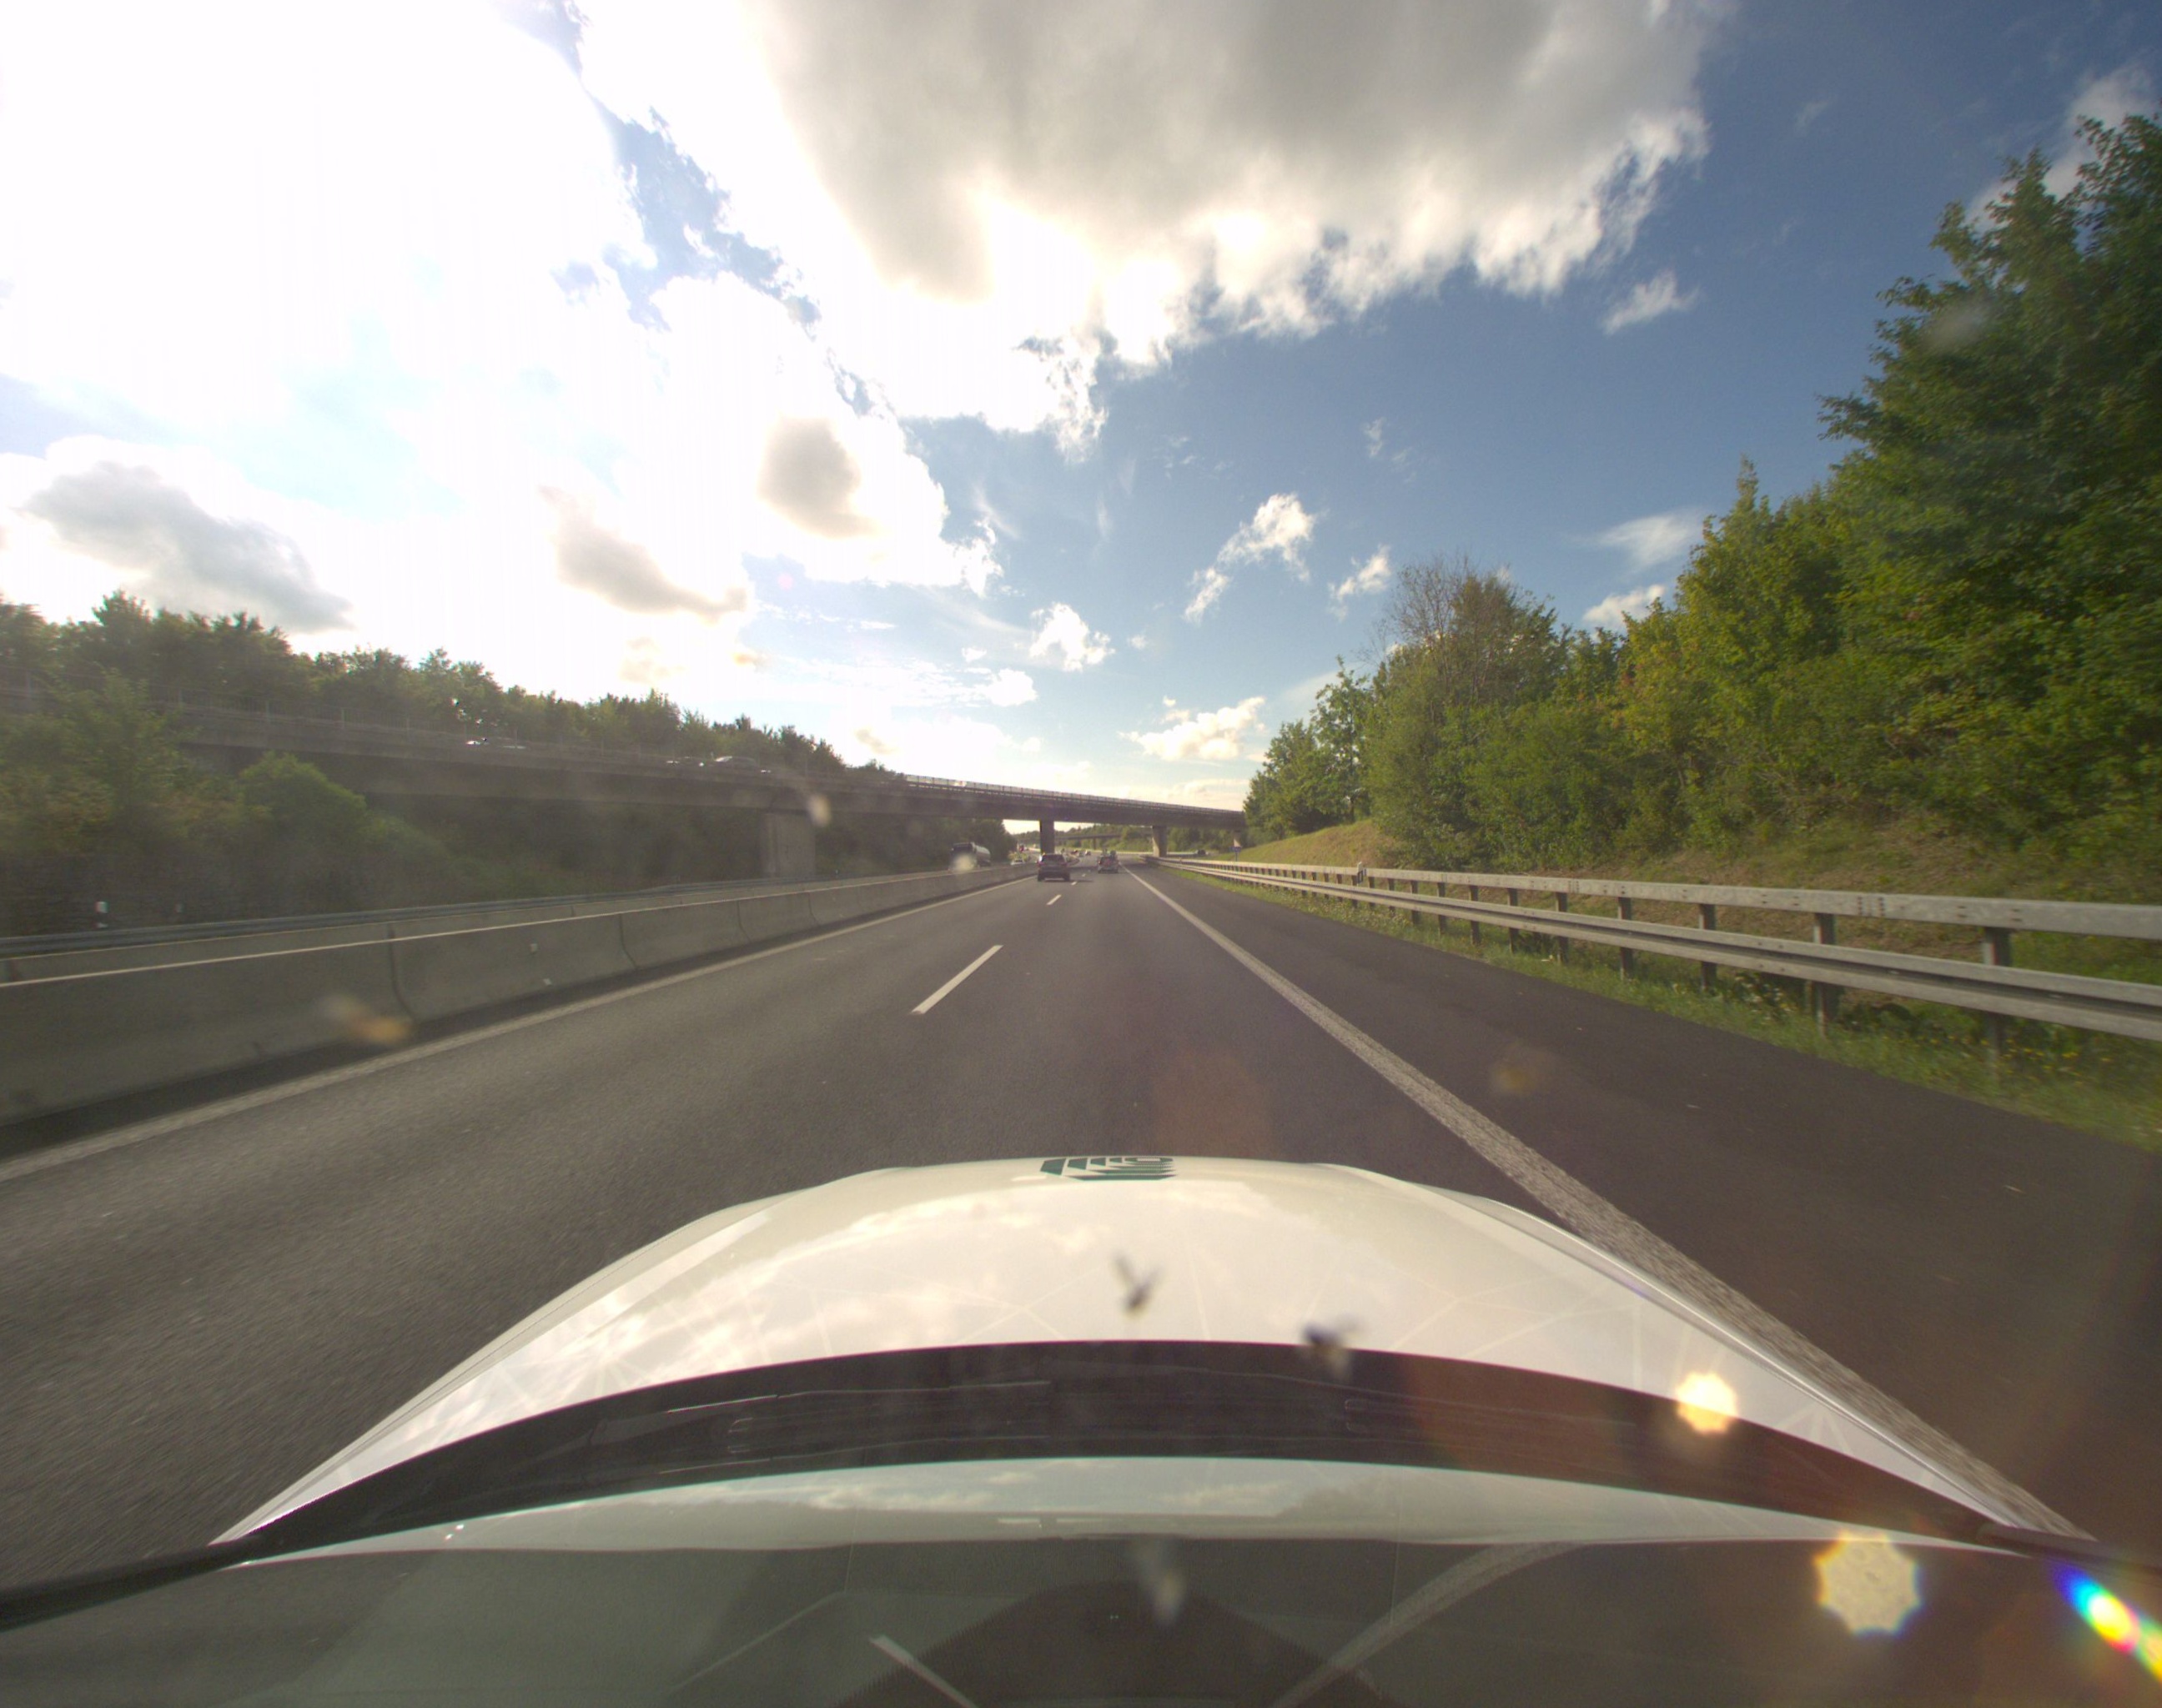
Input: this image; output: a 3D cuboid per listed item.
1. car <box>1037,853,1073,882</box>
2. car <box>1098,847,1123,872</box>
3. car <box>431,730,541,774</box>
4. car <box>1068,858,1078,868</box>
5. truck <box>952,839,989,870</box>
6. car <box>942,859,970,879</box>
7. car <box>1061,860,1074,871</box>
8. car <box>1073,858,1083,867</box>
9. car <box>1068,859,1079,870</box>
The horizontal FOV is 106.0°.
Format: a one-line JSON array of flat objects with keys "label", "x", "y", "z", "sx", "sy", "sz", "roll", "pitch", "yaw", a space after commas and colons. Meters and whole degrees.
[{"label": "car", "x": -1.542, "y": 0.776, "z": 49.707, "sx": 1.742, "sy": 1.630, "sz": 3.612, "roll": -3, "pitch": 0, "yaw": 3}, {"label": "car", "x": 2.614, "y": 0.462, "z": 71.549, "sx": 1.986, "sy": 2.081, "sz": 4.002, "roll": -3, "pitch": 0, "yaw": 2}, {"label": "car", "x": -34.568, "y": -5.896, "z": 47.502, "sx": 1.977, "sy": 1.896, "sz": 4.846, "roll": -3, "pitch": 0, "yaw": 19}, {"label": "car", "x": -1.739, "y": 1.907, "z": 178.274, "sx": 1.986, "sy": 2.013, "sz": 4.001, "roll": -3, "pitch": 0, "yaw": 2}, {"label": "truck", "x": -13.091, "y": 0.091, "z": 97.574, "sx": 2.666, "sy": 3.446, "sz": 9.832, "roll": -3, "pitch": 0, "yaw": 2}, {"label": "car", "x": -11.413, "y": 1.366, "z": 74.465, "sx": 1.742, "sy": 1.630, "sz": 3.612, "roll": -3, "pitch": 0, "yaw": 3}, {"label": "car", "x": -2.415, "y": 2.066, "z": 146.933, "sx": 1.986, "sy": 2.013, "sz": 4.001, "roll": -3, "pitch": 0, "yaw": 2}, {"label": "car", "x": -0.710, "y": 1.991, "z": 198.465, "sx": 1.986, "sy": 2.013, "sz": 4.001, "roll": -3, "pitch": 0, "yaw": 2}, {"label": "car", "x": -1.503, "y": 2.117, "z": 168.020, "sx": 1.986, "sy": 2.013, "sz": 4.001, "roll": -3, "pitch": 0, "yaw": 2}]
